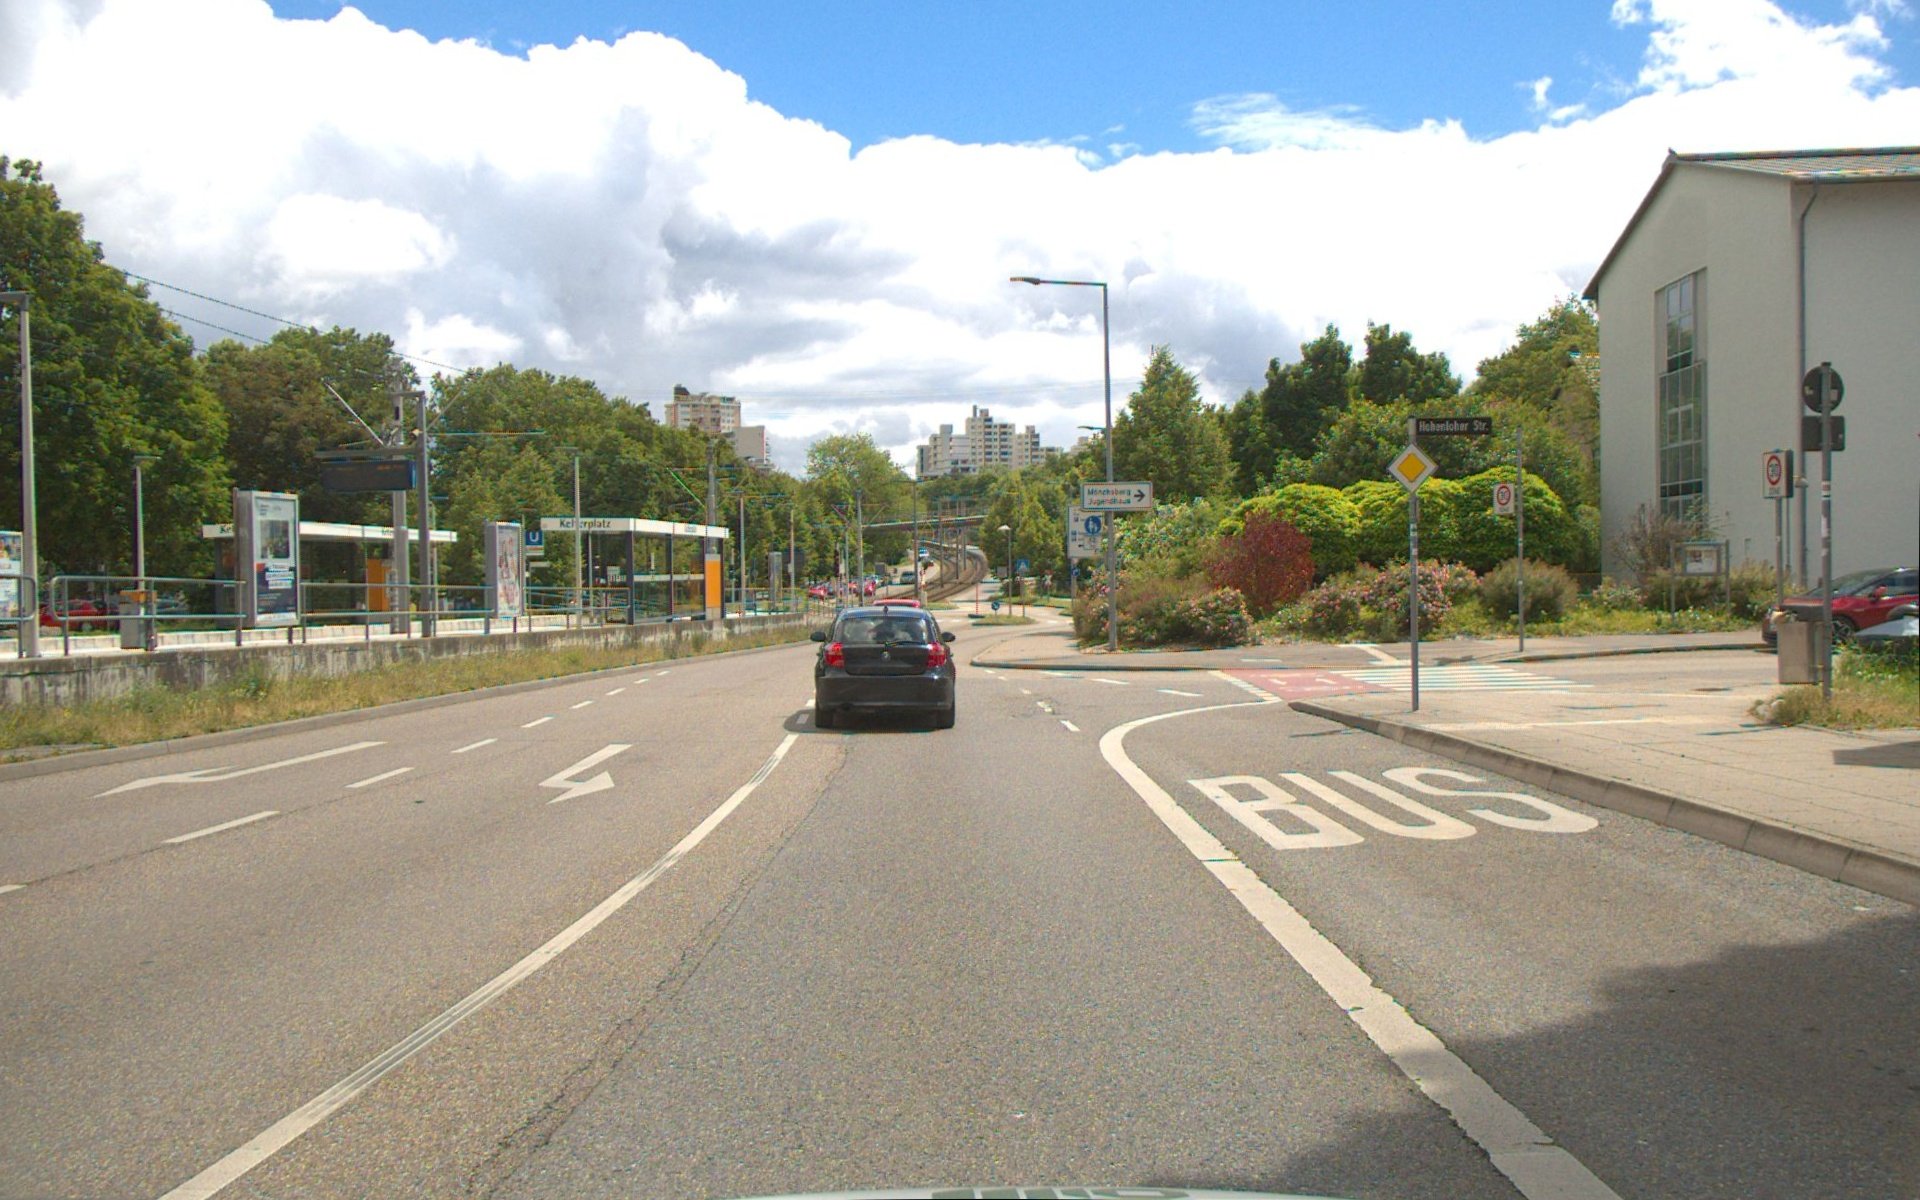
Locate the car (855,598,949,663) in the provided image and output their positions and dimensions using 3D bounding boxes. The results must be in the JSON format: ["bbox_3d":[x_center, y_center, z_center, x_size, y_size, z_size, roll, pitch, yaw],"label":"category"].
[{"bbox_3d":[-1.355,0.708,39.836,1.728,1.457,3.481,-2,0,6],"label":"car"}]

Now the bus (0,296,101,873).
[{"bbox_3d":[-6.847,-0.074,5.491,2.668,3.123,8.968,-1,0,5],"label":"bus"}]

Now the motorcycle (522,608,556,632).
[{"bbox_3d":[-20.863,0.980,81.945,0.713,1.100,2.217,-1,0,12],"label":"motorcycle"}]

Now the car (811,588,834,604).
[{"bbox_3d":[-12.292,-0.385,148.308,1.496,1.394,3.599,-1,1,5],"label":"car"}]

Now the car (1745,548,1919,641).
[{"bbox_3d":[17.281,-0.138,31.149,4.071,1.588,2.000,-1,3,-1],"label":"car"}]

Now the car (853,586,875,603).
[{"bbox_3d":[-9.145,-0.567,157.309,1.683,1.529,2.968,-1,1,3],"label":"car"}]

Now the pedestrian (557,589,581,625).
[{"bbox_3d":[-22.154,0.390,93.714,0.941,2.048,0.822,0,1,23],"label":"pedestrian"}]

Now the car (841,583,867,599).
[{"bbox_3d":[-10.824,-0.914,169.300,1.872,1.588,4.003,-1,1,7],"label":"car"}]

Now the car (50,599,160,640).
[{"bbox_3d":[-38.415,0.852,74.371,3.903,1.713,1.976,-1,1,4],"label":"car"}]

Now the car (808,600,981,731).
[{"bbox_3d":[-0.727,0.768,20.944,1.777,1.445,4.001,-2,-1,3],"label":"car"}]
